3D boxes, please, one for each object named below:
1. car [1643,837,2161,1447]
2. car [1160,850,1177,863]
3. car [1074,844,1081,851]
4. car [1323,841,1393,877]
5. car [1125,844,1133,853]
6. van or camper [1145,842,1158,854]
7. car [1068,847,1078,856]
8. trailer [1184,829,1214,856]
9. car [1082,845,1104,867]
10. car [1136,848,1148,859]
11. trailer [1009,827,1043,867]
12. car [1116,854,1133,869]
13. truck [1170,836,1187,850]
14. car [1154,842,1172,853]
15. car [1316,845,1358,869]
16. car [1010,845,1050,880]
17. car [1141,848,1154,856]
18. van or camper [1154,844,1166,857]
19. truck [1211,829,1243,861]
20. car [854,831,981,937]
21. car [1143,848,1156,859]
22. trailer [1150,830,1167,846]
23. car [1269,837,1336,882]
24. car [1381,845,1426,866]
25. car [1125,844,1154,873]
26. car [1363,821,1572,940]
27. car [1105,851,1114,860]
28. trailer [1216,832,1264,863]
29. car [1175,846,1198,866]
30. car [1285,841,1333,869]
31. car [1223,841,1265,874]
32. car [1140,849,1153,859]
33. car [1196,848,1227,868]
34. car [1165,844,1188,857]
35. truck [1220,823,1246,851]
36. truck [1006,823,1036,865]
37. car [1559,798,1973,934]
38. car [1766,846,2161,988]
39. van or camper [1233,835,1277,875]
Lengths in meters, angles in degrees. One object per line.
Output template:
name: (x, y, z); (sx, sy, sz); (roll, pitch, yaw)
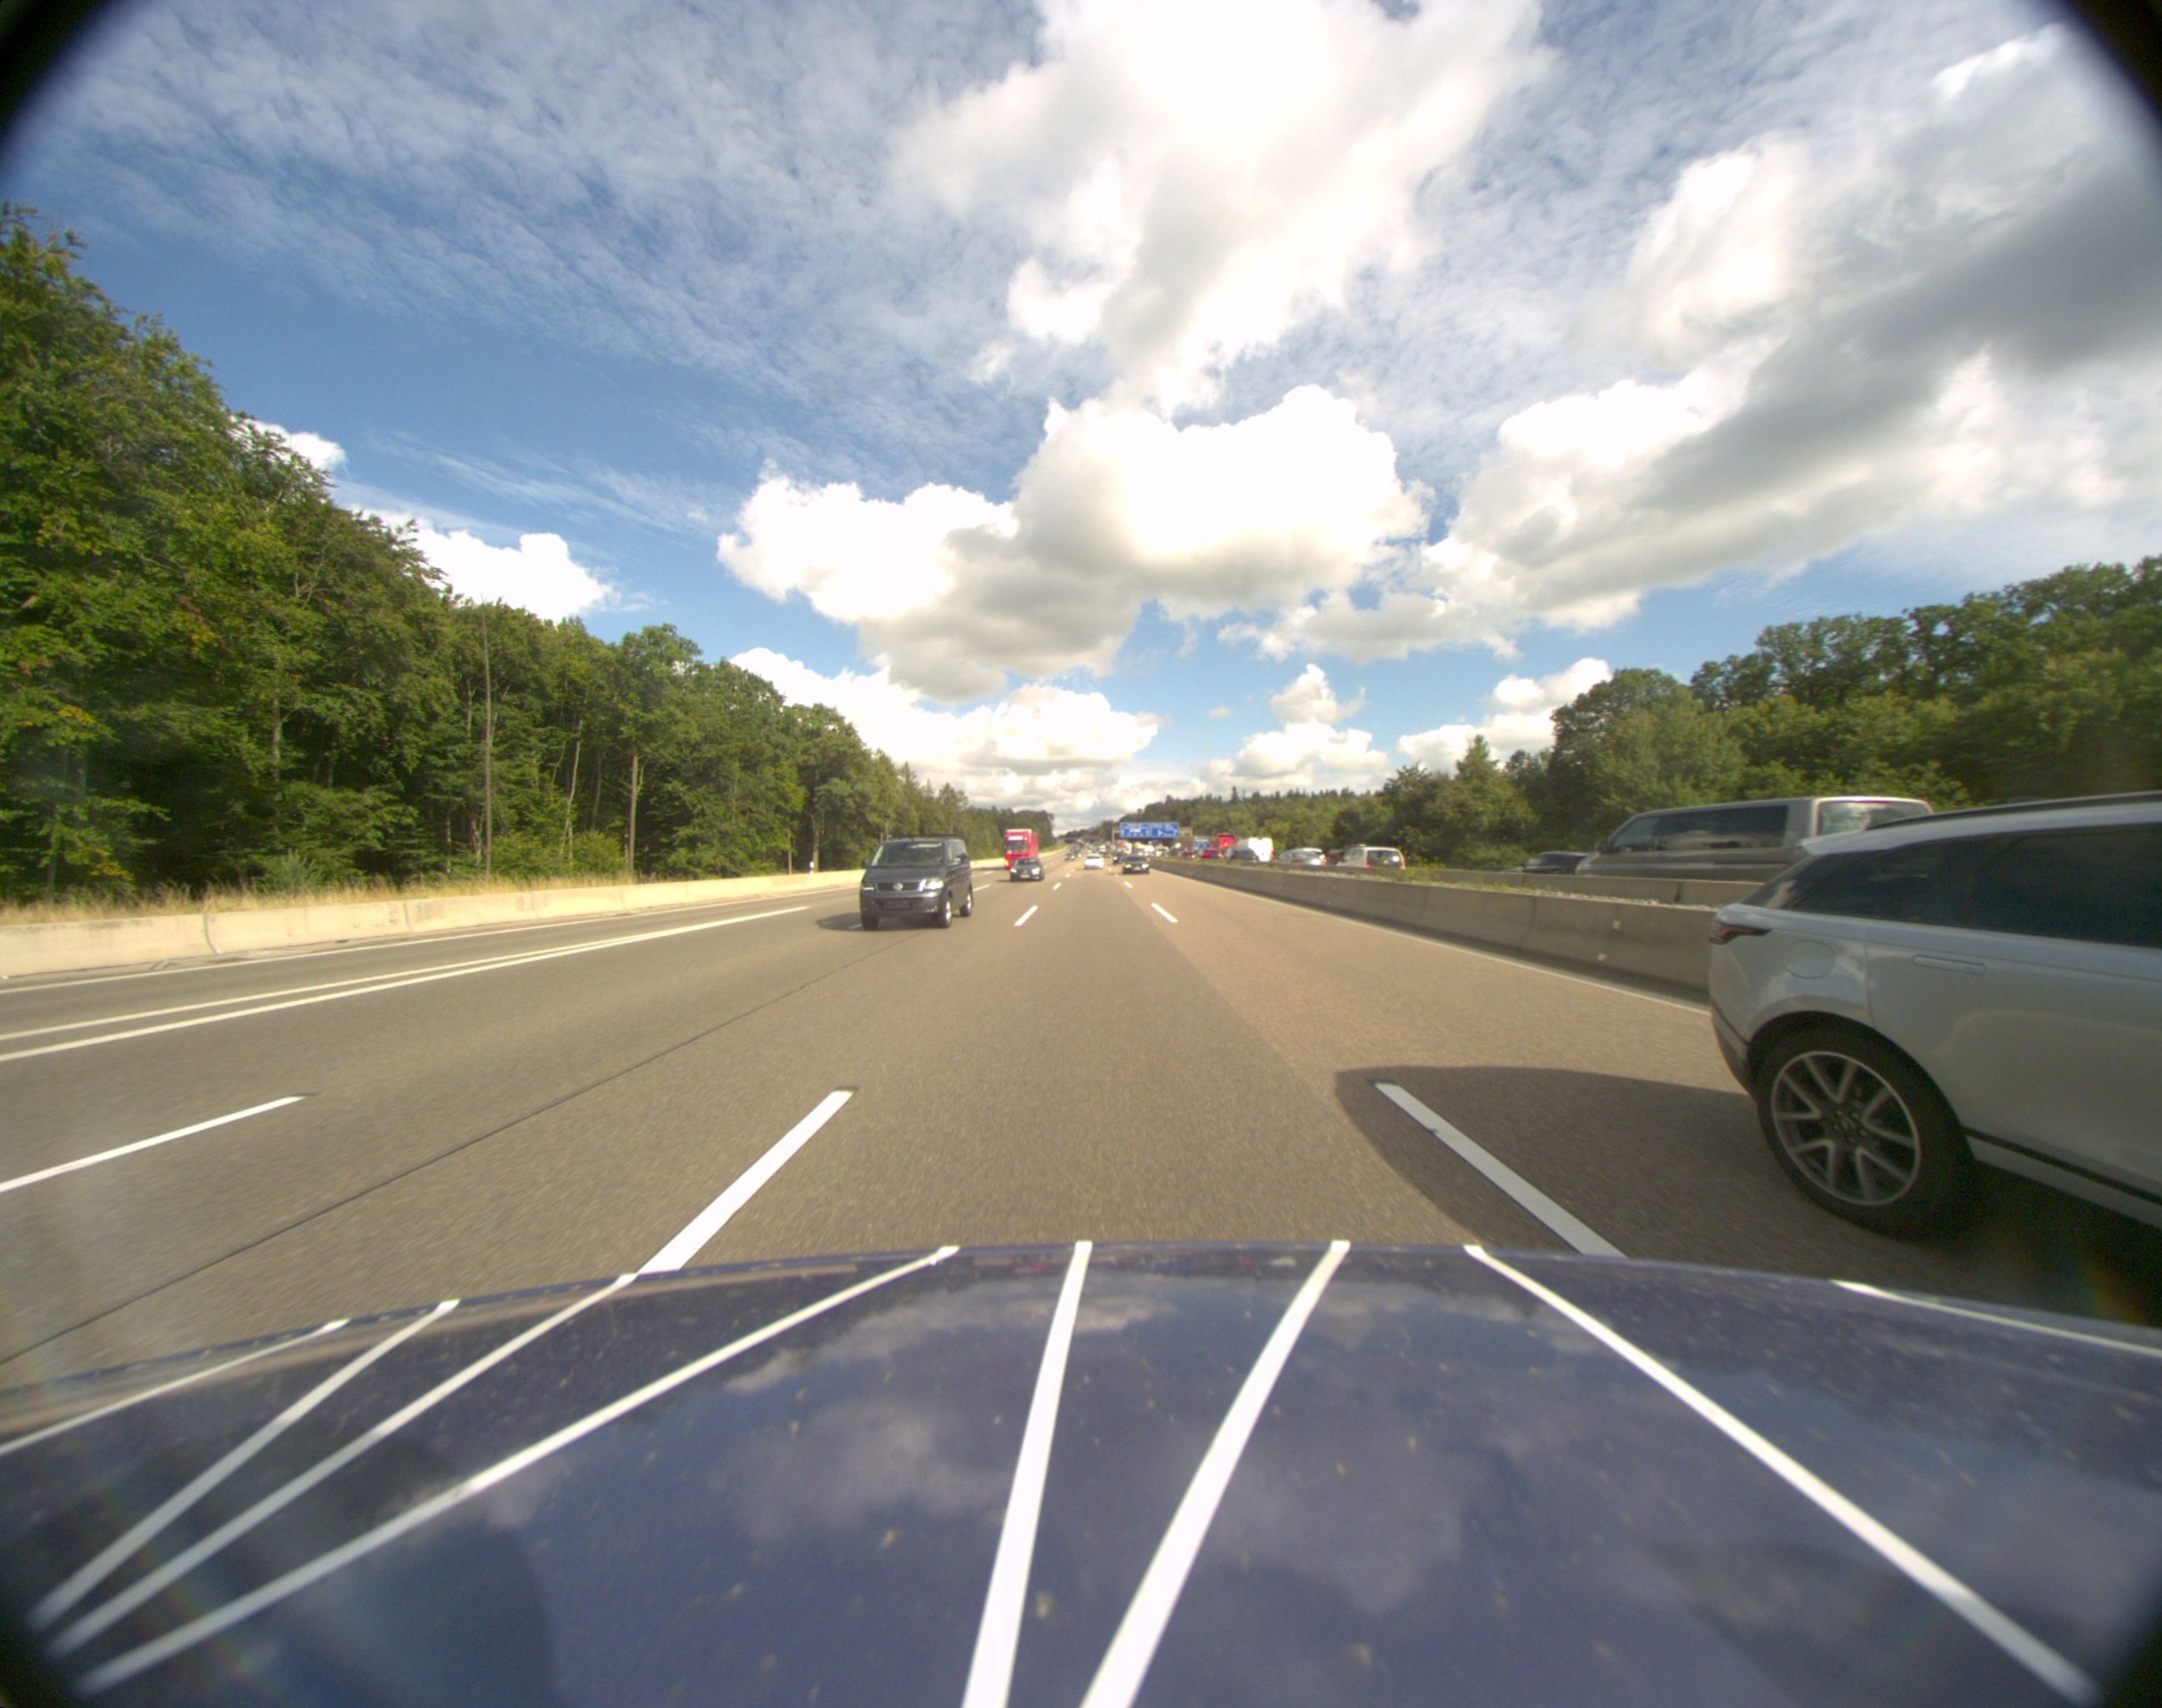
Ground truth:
car: (3.824, 0.780, 1.352); (1.905, 1.597, 5.104); (-1, 1, 1)
car: (11.016, 0.300, 95.796); (1.728, 1.594, 3.999); (-2, 1, 0)
car: (-0.825, -1.660, 194.939); (1.804, 1.865, 3.950); (-1, 1, 1)
car: (14.043, 0.215, 38.792); (1.998, 1.587, 4.523); (-2, 2, 2)
car: (12.678, -1.429, 200.752); (1.998, 2.088, 5.276); (-2, 2, 1)
van or camper: (16.880, -1.414, 182.315); (2.397, 2.696, 6.629); (-2, 2, 1)
car: (-1.527, -0.441, 143.276); (1.911, 1.582, 4.286); (-2, 2, -2)
trailer: (19.773, -2.102, 127.664); (2.778, 4.211, 13.654); (-2, 2, 0)
car: (1.184, 0.194, 71.614); (1.998, 2.002, 4.000); (-1, 0, 2)
car: (11.619, -0.062, 144.738); (1.998, 2.002, 4.408); (-1, 2, 1)
trailer: (-6.058, -0.904, 85.405); (2.531, 4.096, 14.373); (-1, 2, 1)
car: (5.326, 0.929, 93.708); (1.911, 1.582, 4.286); (-2, 2, 1)
truck: (19.647, -2.202, 153.394); (2.334, 2.785, 7.948); (-3, 1, 1)
car: (11.534, -0.981, 107.391); (1.854, 1.347, 5.486); (-2, 2, 0)
car: (25.500, 0.293, 75.806); (2.377, 2.115, 5.285); (2, 2, 0)
car: (-3.027, 0.470, 45.887); (1.998, 2.002, 4.000); (0, 0, 2)
car: (11.462, -0.395, 131.362); (1.761, 1.369, 4.000); (0, 0, 0)
van or camper: (17.661, -0.743, 170.043); (2.050, 2.696, 5.749); (-2, 2, 1)
truck: (19.054, -1.172, 99.415); (2.783, 3.915, 6.852); (-2, 1, 0)
car: (-3.707, 0.588, 18.196); (1.927, 2.153, 4.960); (-1, 1, 0)
car: (11.599, -0.082, 129.198); (1.691, 1.806, 4.294); (-2, 2, 0)
trailer: (20.911, -4.340, 205.817); (2.837, 3.953, 15.999); (-2, 2, 1)
car: (10.572, 0.244, 36.620); (1.910, 2.002, 5.091); (-1, 0, 2)
car: (25.352, 0.092, 59.814); (1.840, 1.582, 4.003); (1, 1, 0)
car: (4.223, 0.295, 55.283); (1.919, 2.002, 4.000); (-2, 0, 2)
car: (7.101, 0.442, 14.491); (1.998, 1.909, 4.000); (-2, 0, 2)
car: (6.071, 0.272, 163.471); (1.804, 1.783, 3.757); (-1, 1, 1)
trailer: (19.095, -0.758, 92.510); (2.735, 3.316, 14.218); (-2, 0, 0)
car: (10.642, 0.198, 76.991); (1.691, 1.806, 4.294); (-2, 2, 0)
car: (14.646, 0.021, 49.041); (1.998, 1.587, 3.999); (-2, 2, 2)
car: (10.442, 0.189, 49.057); (1.887, 2.002, 4.519); (-1, 0, 2)
car: (12.594, 0.001, 146.511); (1.998, 1.733, 4.294); (-3, 1, 1)
car: (10.861, 0.278, 63.613); (1.841, 1.582, 4.288); (1, 1, 0)
car: (10.754, -0.466, 86.064); (1.819, 1.341, 6.232); (-2, 1, 0)
truck: (23.537, -2.581, 117.924); (2.818, 4.125, 5.452); (-1, 1, 0)
truck: (-6.144, -1.048, 78.452); (2.532, 4.179, 4.652); (-1, 2, 1)
car: (9.702, 0.142, 11.490); (1.998, 1.563, 4.815); (-2, 0, 2)
car: (13.834, 0.777, 11.904); (1.998, 1.723, 4.762); (-2, 0, 2)
van or camper: (14.453, 0.052, 63.544); (2.144, 3.154, 6.243); (-2, 1, 0)
